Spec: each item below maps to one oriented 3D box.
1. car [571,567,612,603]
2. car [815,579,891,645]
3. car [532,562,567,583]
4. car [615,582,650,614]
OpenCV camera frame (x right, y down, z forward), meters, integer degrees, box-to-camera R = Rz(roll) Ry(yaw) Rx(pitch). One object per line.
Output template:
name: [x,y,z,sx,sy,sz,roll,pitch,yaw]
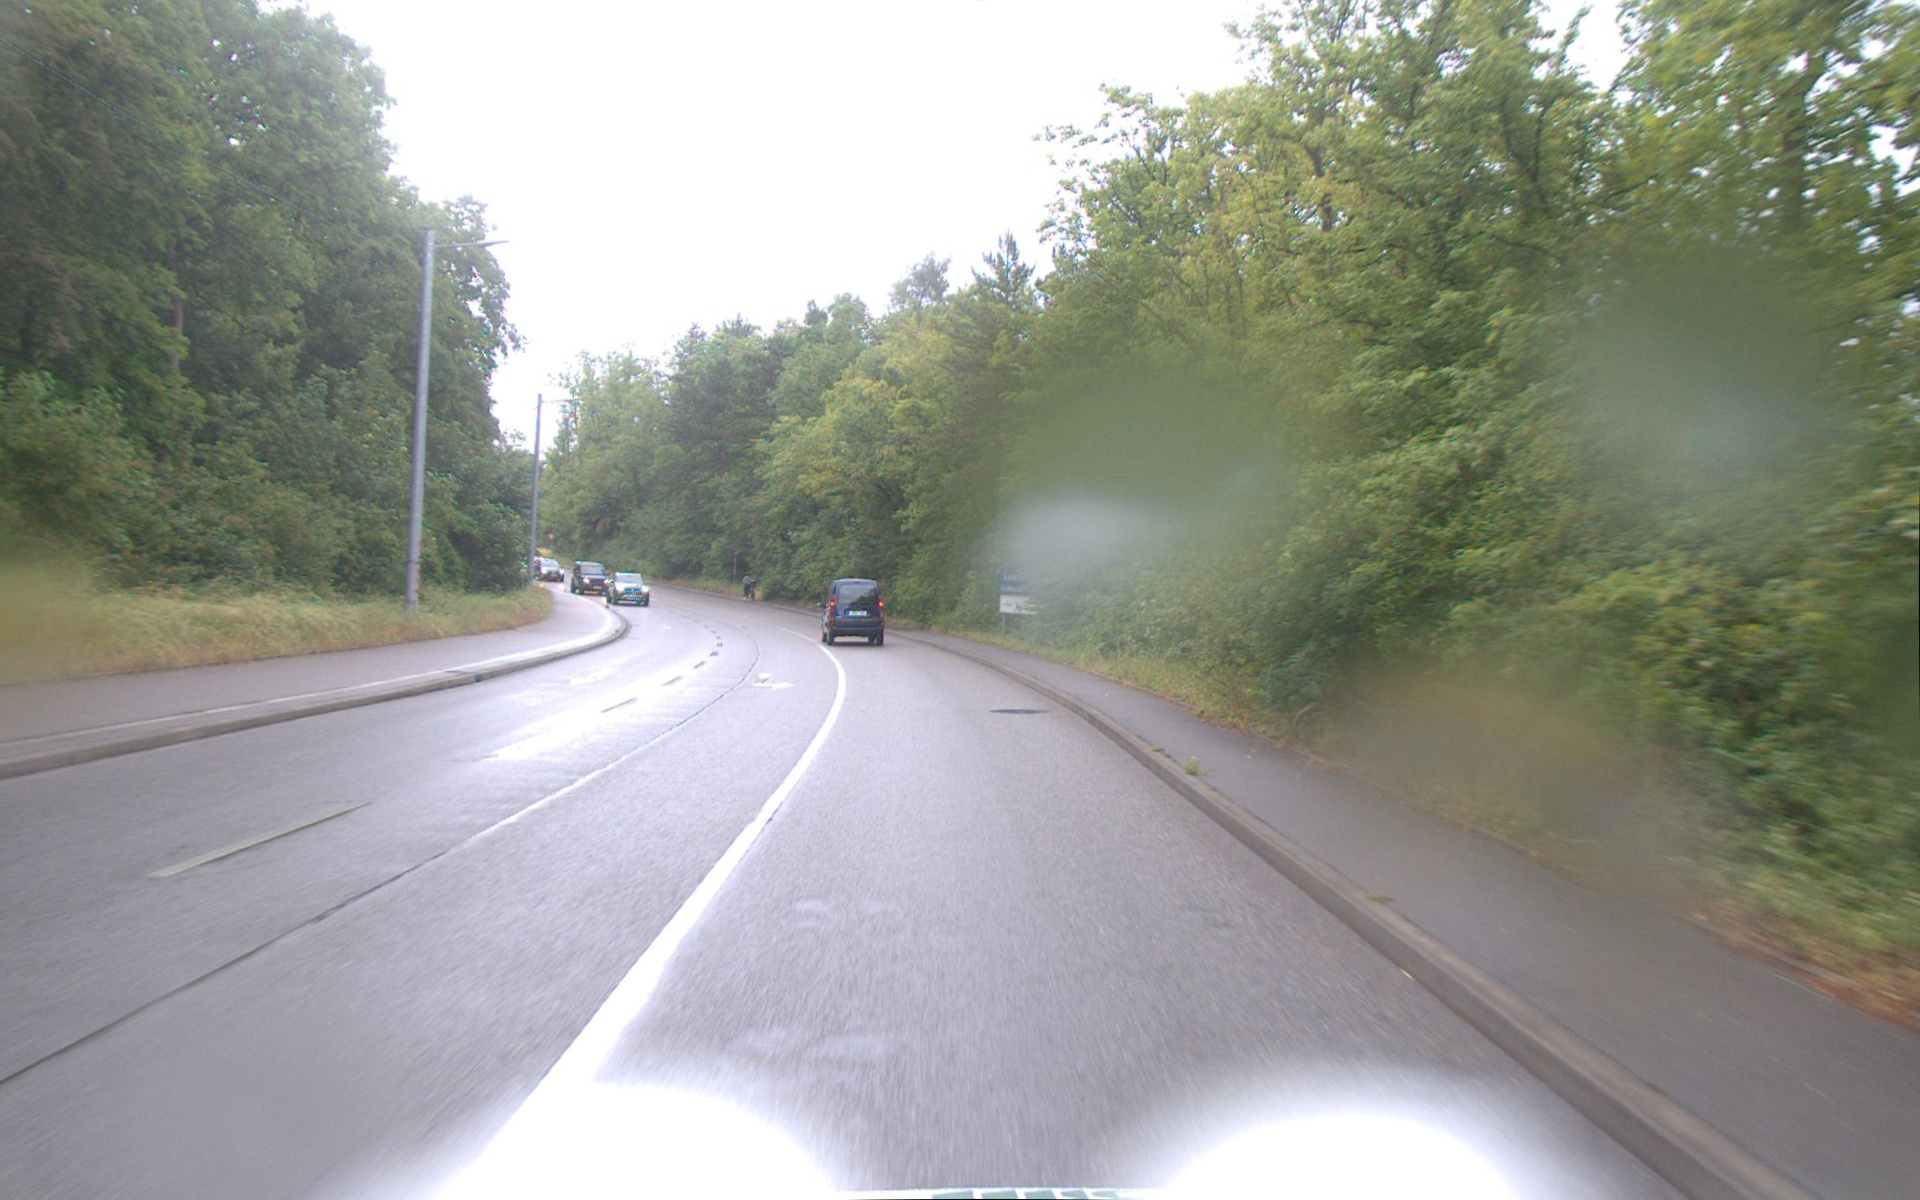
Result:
car: [-22.664,-0.908,101.568,1.801,1.876,4.680,1,-3,-21]
car: [-3.141,0.300,47.895,1.793,1.825,3.991,0,1,-10]
car: [-29.311,-1.974,118.010,1.802,1.465,3.972,2,0,-23]
car: [-17.584,-0.149,88.878,1.776,1.622,4.506,2,0,-11]
